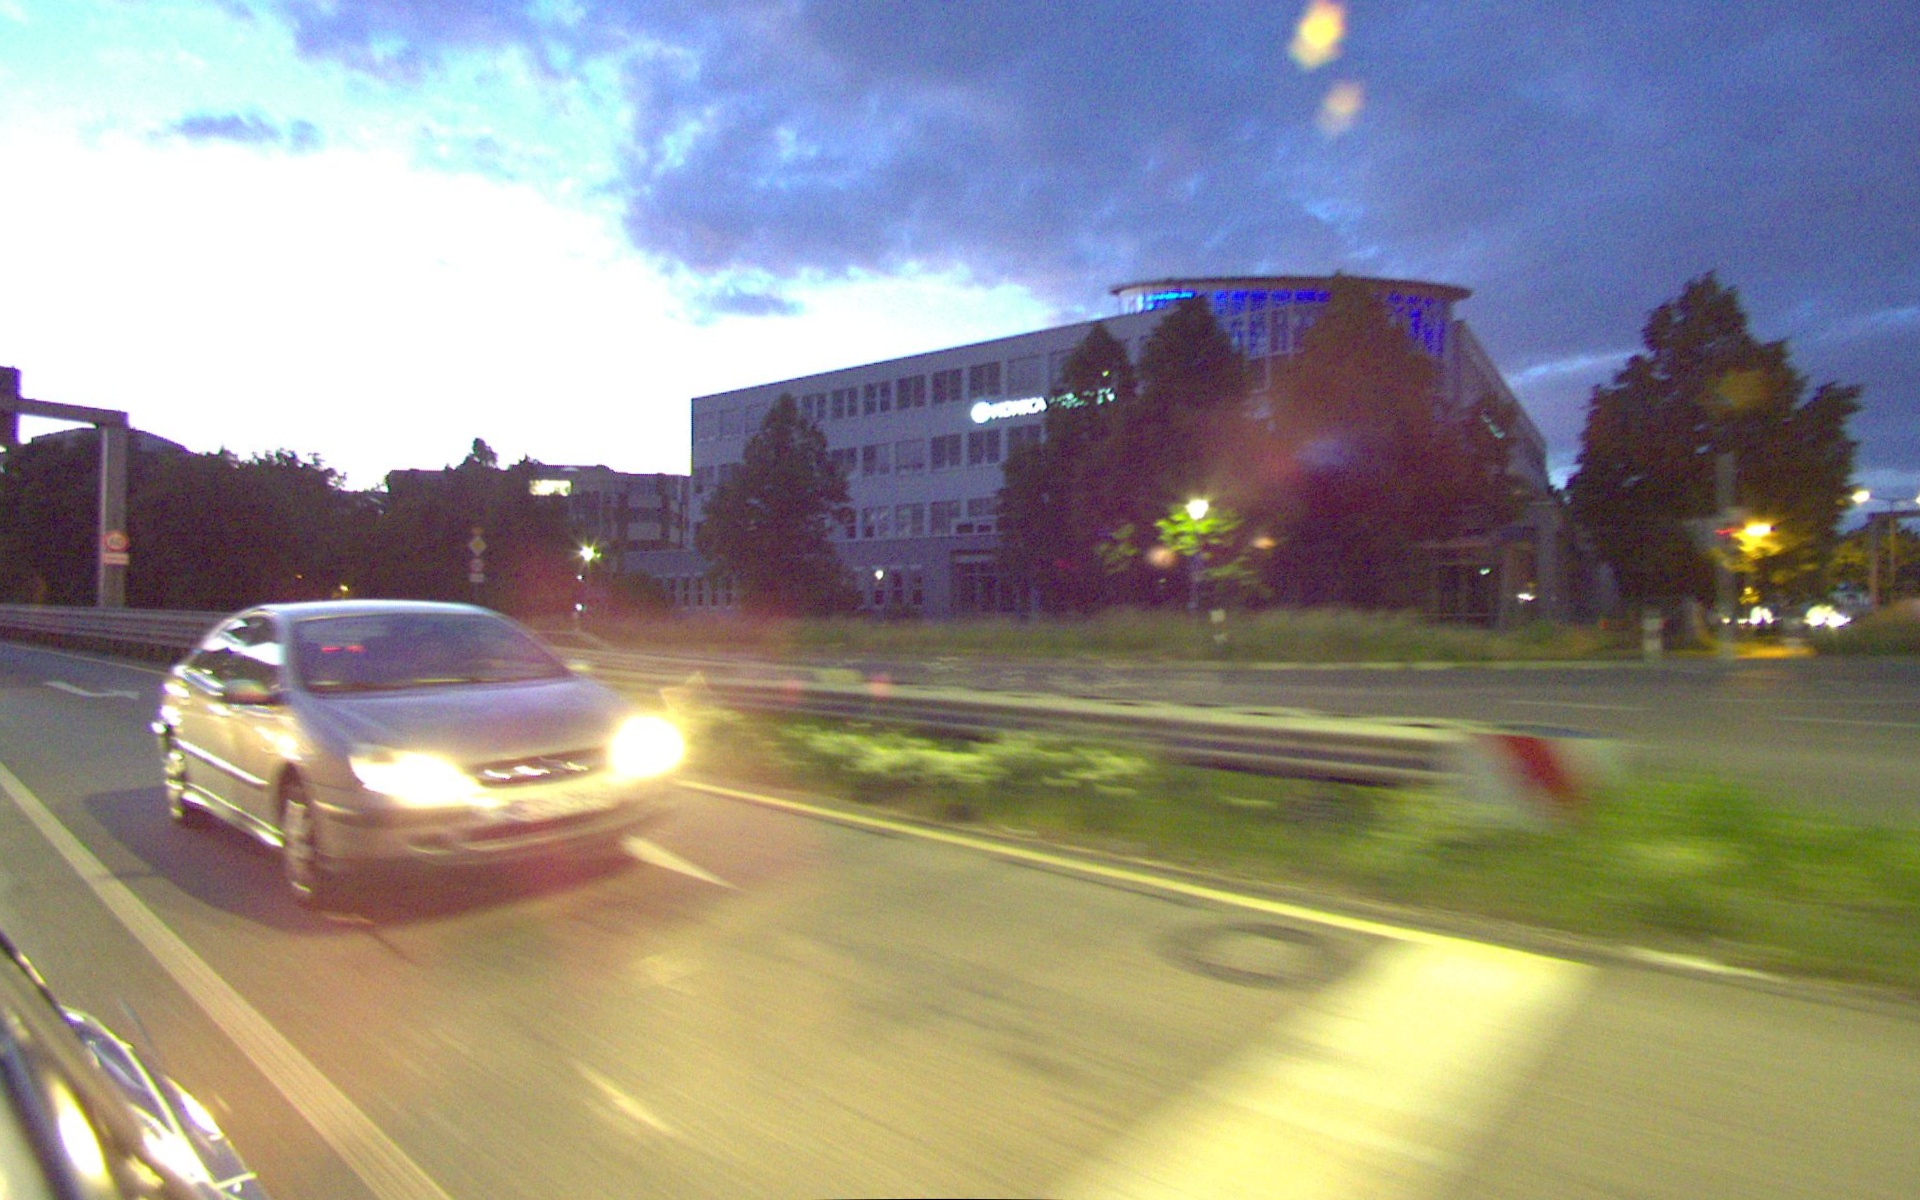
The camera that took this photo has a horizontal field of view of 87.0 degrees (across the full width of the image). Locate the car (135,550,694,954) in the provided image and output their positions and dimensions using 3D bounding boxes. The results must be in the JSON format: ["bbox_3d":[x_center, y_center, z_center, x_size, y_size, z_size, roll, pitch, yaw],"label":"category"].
[{"bbox_3d":[-3.614,0.625,6.266,4.410,1.665,1.648,0,0,42],"label":"car"}]
